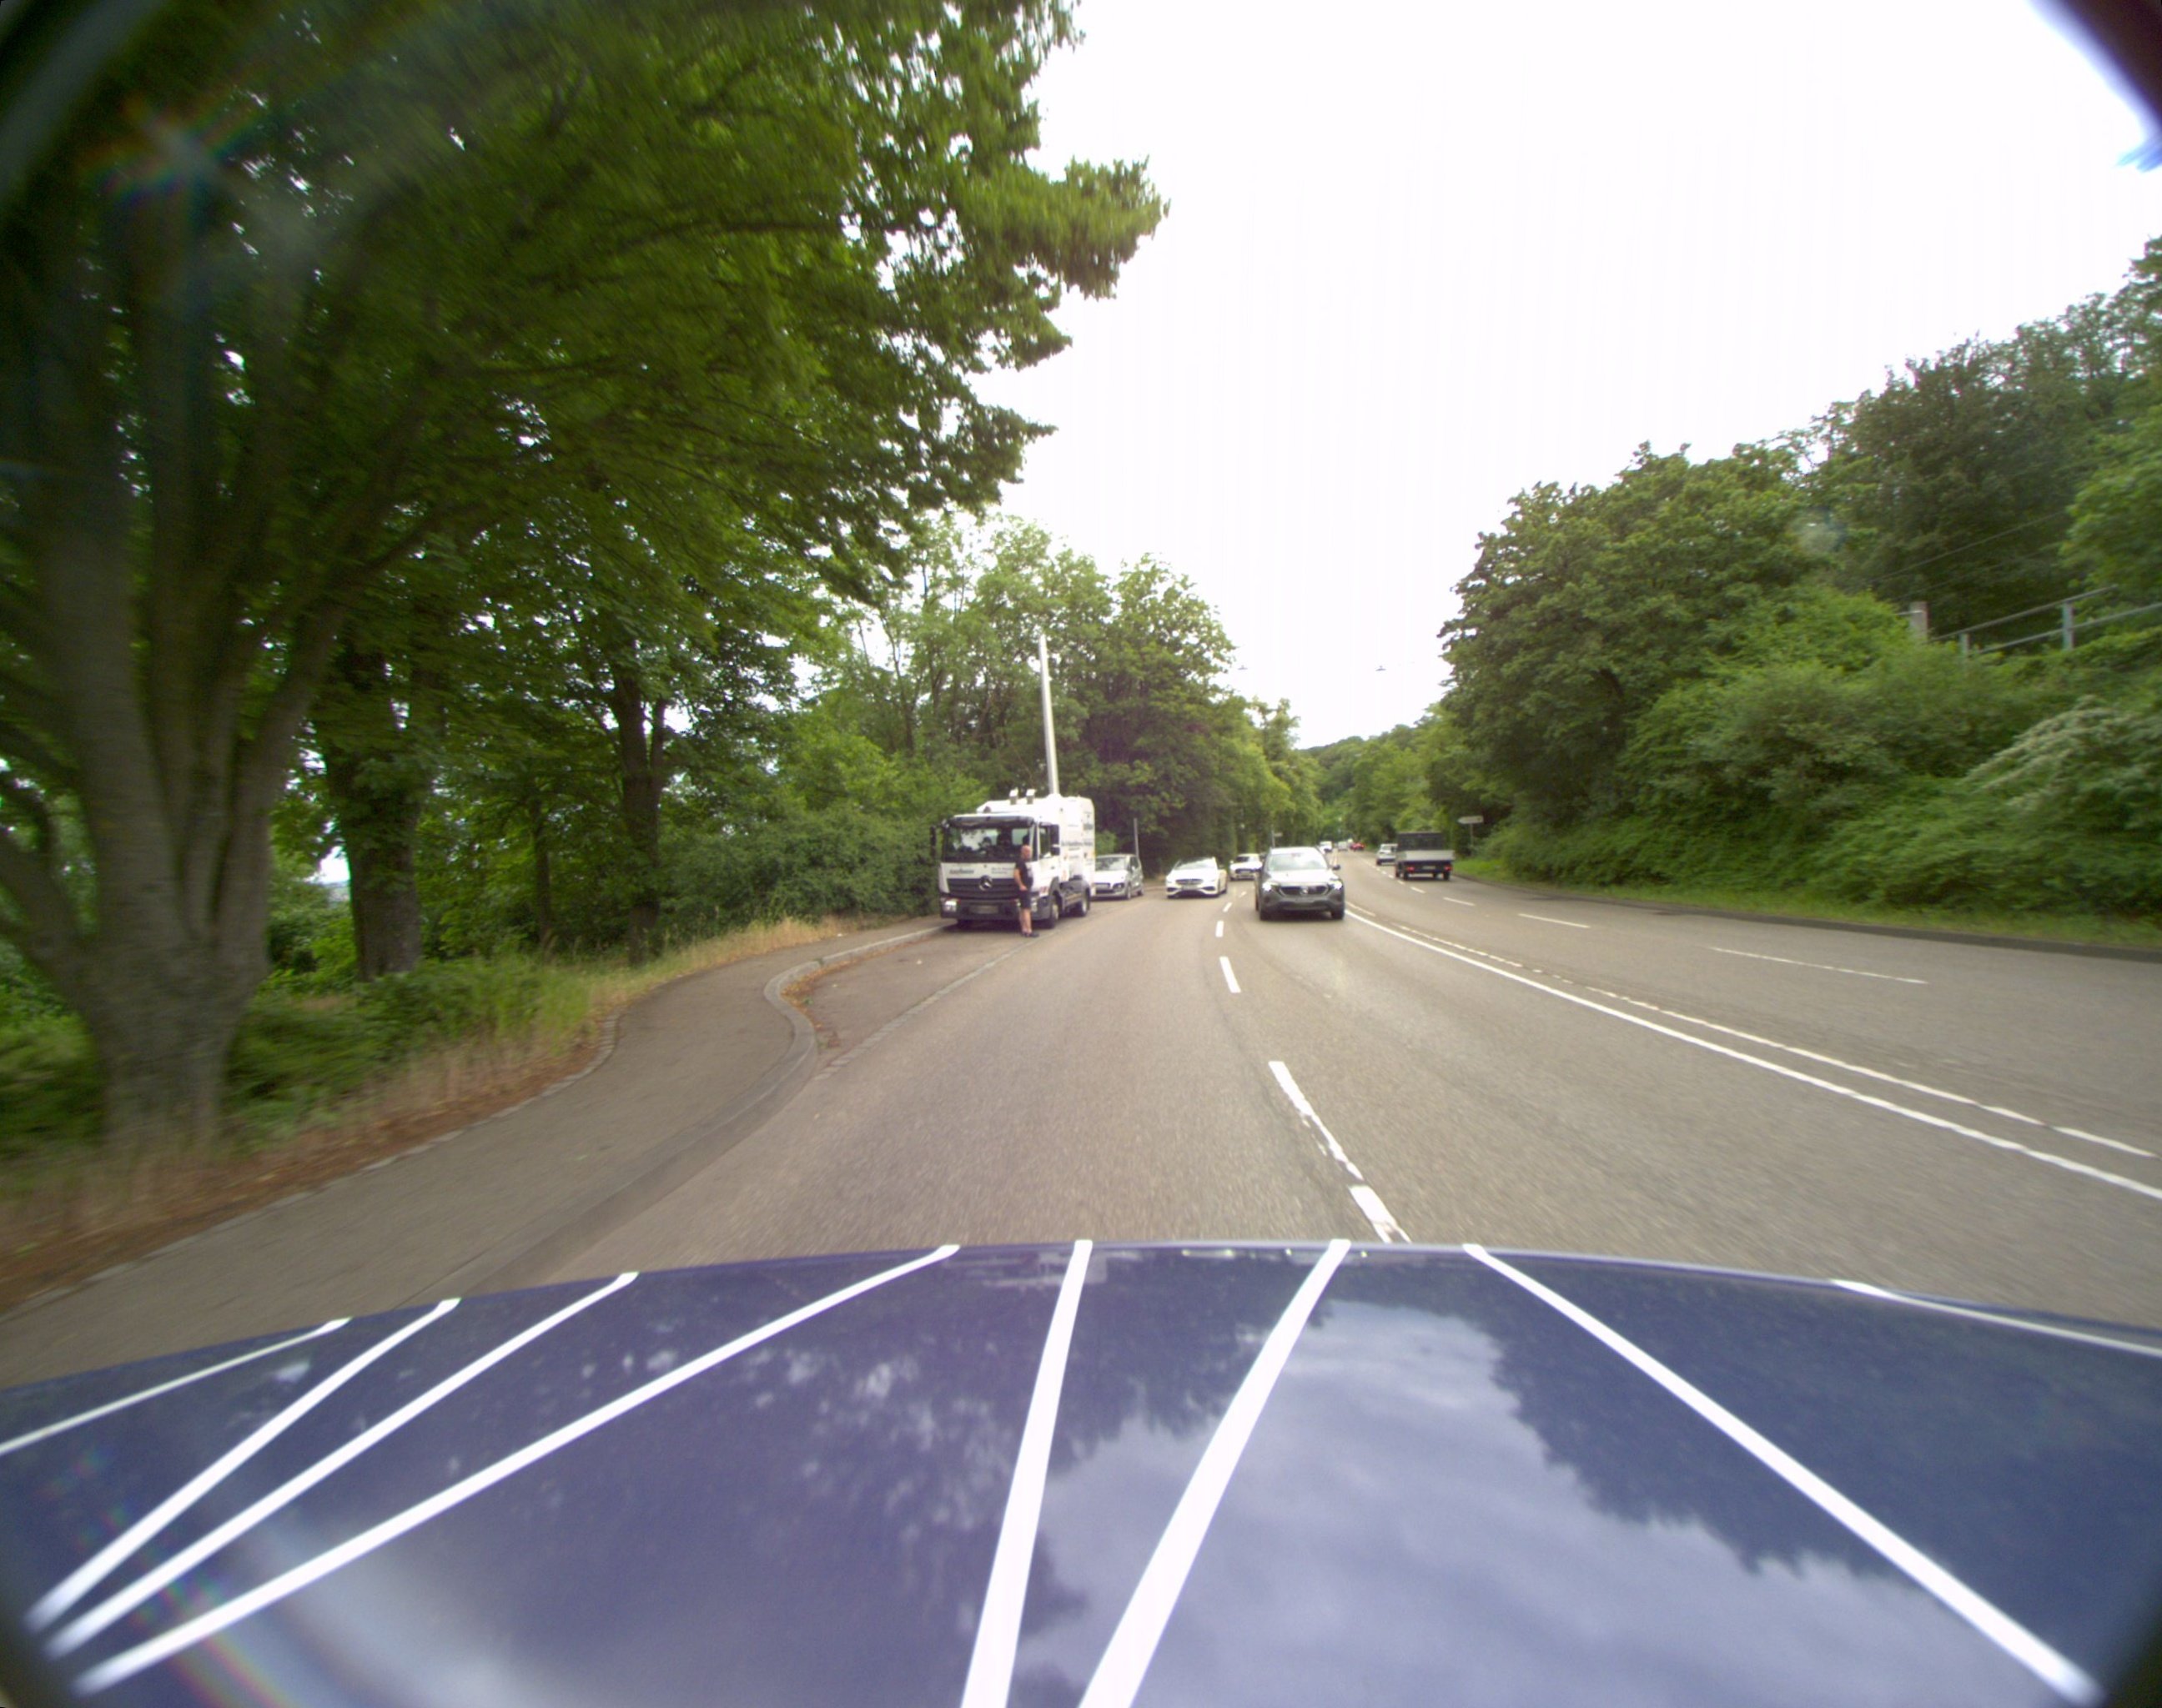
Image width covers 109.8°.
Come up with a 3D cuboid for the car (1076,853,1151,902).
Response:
[{"bbox_3d":[1.269,0.805,27.988,1.805,1.516,4.004,-3,0,16],"label":"car"}]

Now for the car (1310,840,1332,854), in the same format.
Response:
[{"bbox_3d":[29.374,-0.815,93.110,1.697,1.573,4.002,-5,0,7],"label":"car"}]

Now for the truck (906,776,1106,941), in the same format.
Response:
[{"bbox_3d":[-1.408,0.075,18.525,2.486,3.163,7.235,-2,0,13],"label":"truck"}]

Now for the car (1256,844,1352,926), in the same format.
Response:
[{"bbox_3d":[5.196,0.641,18.168,1.869,1.653,4.196,-2,1,12],"label":"car"}]

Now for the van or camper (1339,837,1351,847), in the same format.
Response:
[{"bbox_3d":[55.496,-2.559,159.681,1.995,2.002,5.375,4,2,20],"label":"van or camper"}]

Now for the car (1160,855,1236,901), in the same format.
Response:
[{"bbox_3d":[4.251,0.803,27.069,1.894,1.288,4.333,-4,0,18],"label":"car"}]

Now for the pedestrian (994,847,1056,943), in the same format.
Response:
[{"bbox_3d":[-1.098,0.786,15.033,0.917,1.823,0.985,0,0,18],"label":"pedestrian"}]

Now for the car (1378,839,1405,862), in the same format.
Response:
[{"bbox_3d":[24.308,-0.301,59.434,1.857,1.685,4.442,1,1,22],"label":"car"}]

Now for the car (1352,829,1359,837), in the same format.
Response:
[{"bbox_3d":[86.332,-6.611,238.865,1.889,2.541,4.920,-2,1,19],"label":"car"}]

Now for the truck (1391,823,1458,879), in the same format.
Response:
[{"bbox_3d":[16.443,-0.162,36.733,2.163,2.357,6.686,-2,0,18],"label":"truck"}]
